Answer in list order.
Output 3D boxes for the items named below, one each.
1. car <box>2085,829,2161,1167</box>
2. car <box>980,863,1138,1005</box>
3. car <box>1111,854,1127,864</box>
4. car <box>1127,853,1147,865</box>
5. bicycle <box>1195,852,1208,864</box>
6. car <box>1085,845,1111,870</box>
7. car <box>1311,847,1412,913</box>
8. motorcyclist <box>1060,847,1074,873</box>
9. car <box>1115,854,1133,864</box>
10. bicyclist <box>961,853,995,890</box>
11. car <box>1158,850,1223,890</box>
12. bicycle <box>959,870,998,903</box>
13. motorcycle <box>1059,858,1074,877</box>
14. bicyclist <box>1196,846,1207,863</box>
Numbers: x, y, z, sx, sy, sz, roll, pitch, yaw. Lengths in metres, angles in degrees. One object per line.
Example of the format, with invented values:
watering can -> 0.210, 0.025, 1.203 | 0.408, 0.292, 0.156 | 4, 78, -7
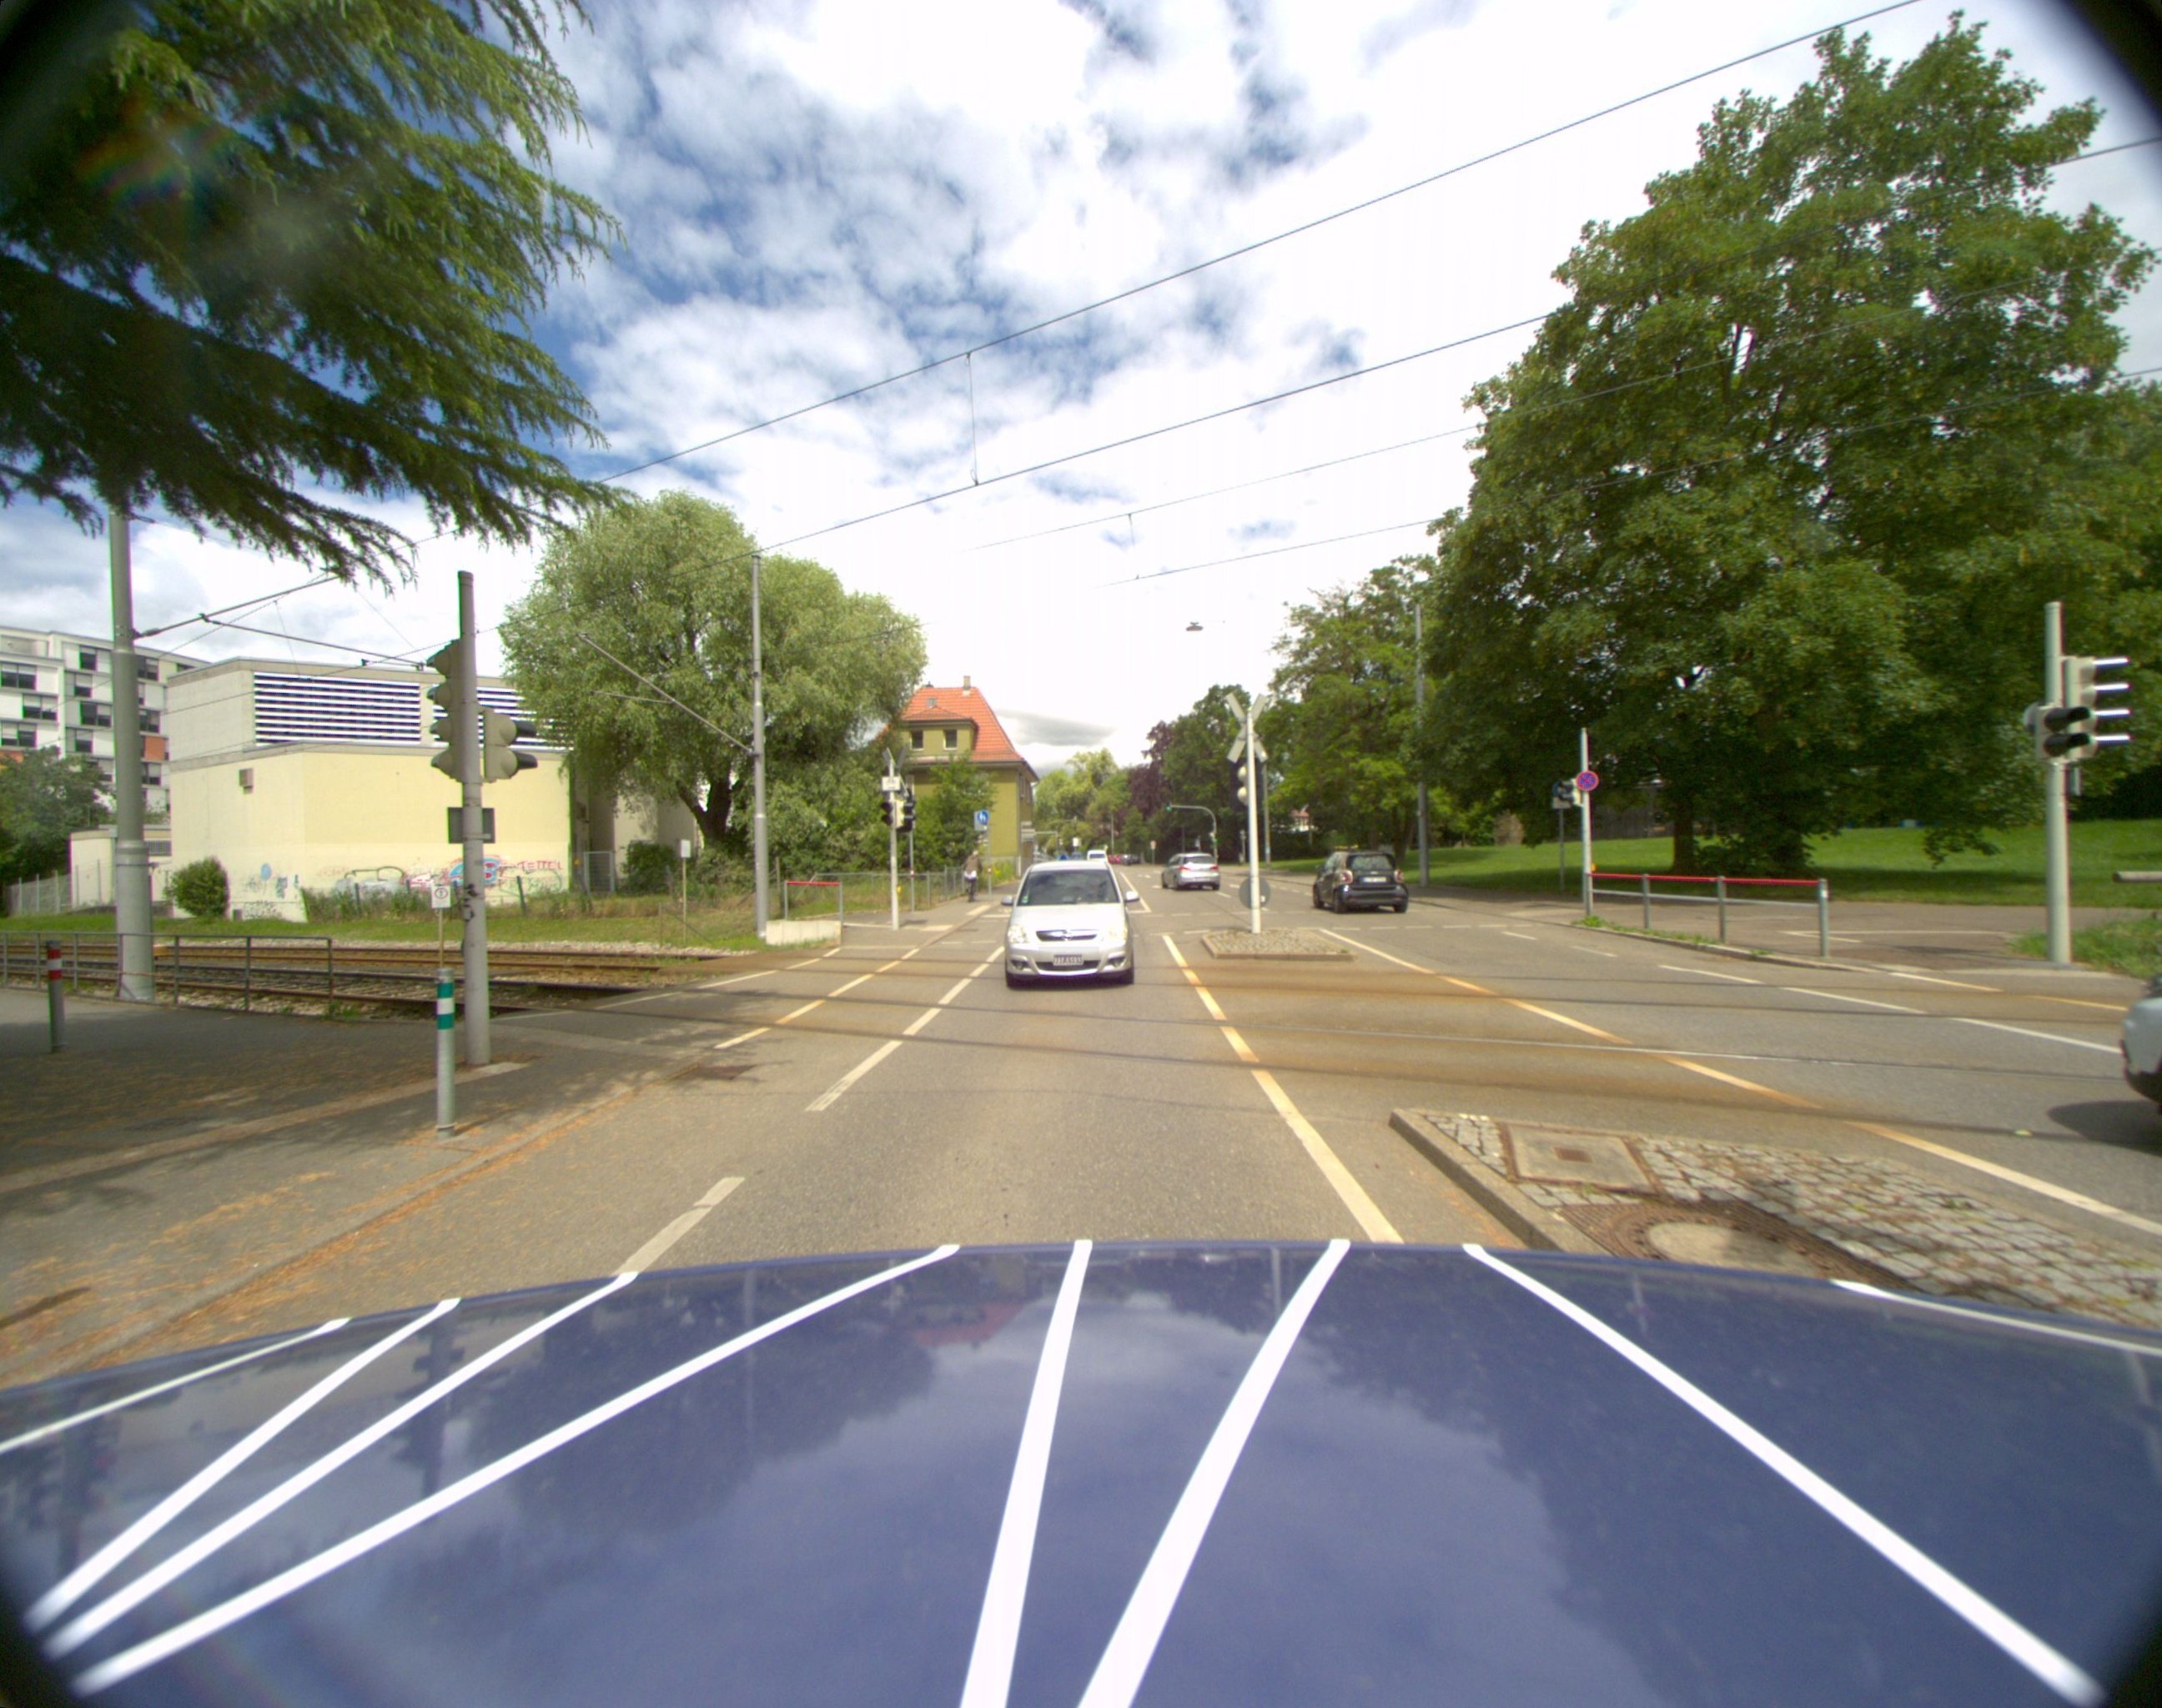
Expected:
car -> 5.905, 0.684, 1.800 | 1.779, 1.594, 4.039 | 0, 0, 2
car -> -0.167, 0.965, 10.888 | 1.780, 1.519, 4.000 | -3, 0, 3
car -> 5.740, 0.730, 114.371 | 1.899, 1.501, 3.998 | -1, 0, -6
car -> 7.392, 0.690, 100.337 | 1.899, 1.501, 3.998 | -1, 0, -6
bicycle -> 11.430, 0.375, 72.121 | 0.813, 1.101, 1.800 | -3, 1, -1
car -> 1.406, 0.230, 63.643 | 1.999, 1.983, 4.370 | -1, 1, -1
car -> 6.918, 0.619, 18.992 | 1.578, 1.501, 2.789 | -1, 0, 3
motorcyclist -> -0.882, 0.370, 46.670 | 0.837, 1.547, 0.650 | 0, 1, 1
car -> 6.185, 0.697, 109.627 | 1.899, 1.501, 3.998 | -1, 0, -6
bicyclist -> -3.497, 0.592, 25.847 | 0.934, 1.240, 1.103 | 0, 0, 4
car -> 4.413, 0.614, 31.193 | 1.693, 1.450, 4.066 | -2, 1, -6
bicycle -> -3.484, 1.085, 25.970 | 0.934, 1.034, 1.916 | 0, 0, 4
motorcycle -> -0.870, 0.804, 46.690 | 0.837, 1.101, 1.800 | 0, 1, 1
bicyclist -> 11.406, 0.028, 72.050 | 0.807, 1.599, 0.772 | -3, 1, -1
